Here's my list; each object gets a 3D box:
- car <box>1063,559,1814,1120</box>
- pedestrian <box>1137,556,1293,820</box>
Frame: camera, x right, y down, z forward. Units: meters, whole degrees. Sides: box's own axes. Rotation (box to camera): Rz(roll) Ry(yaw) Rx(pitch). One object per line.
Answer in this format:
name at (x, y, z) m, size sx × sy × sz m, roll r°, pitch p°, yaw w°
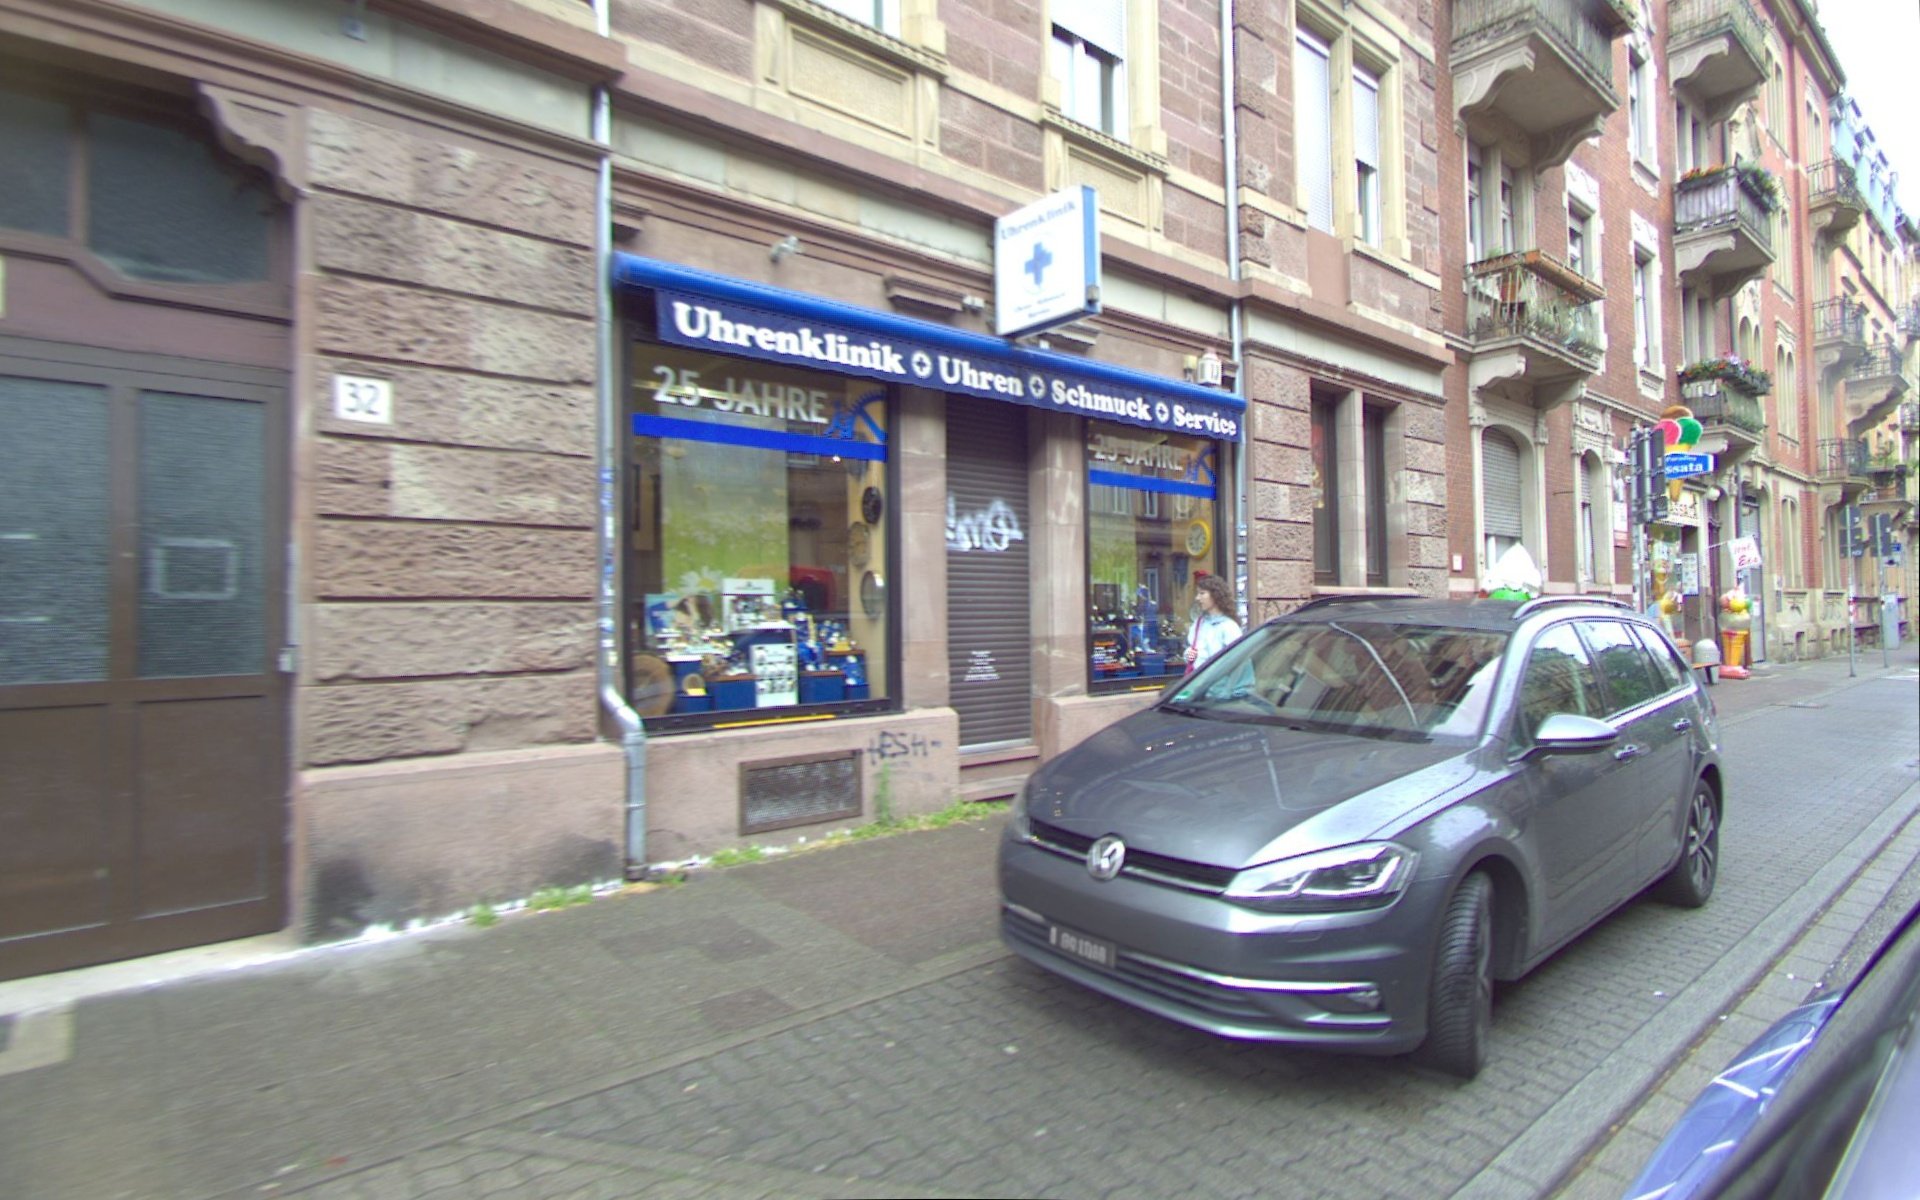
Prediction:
car at (2.512, 0.658, 4.840) m, size 3.934 × 1.565 × 1.843 m, roll -1°, pitch 0°, yaw -42°
pedestrian at (1.709, 0.544, 6.786) m, size 0.796 × 1.634 × 0.680 m, roll 0°, pitch -1°, yaw -40°
